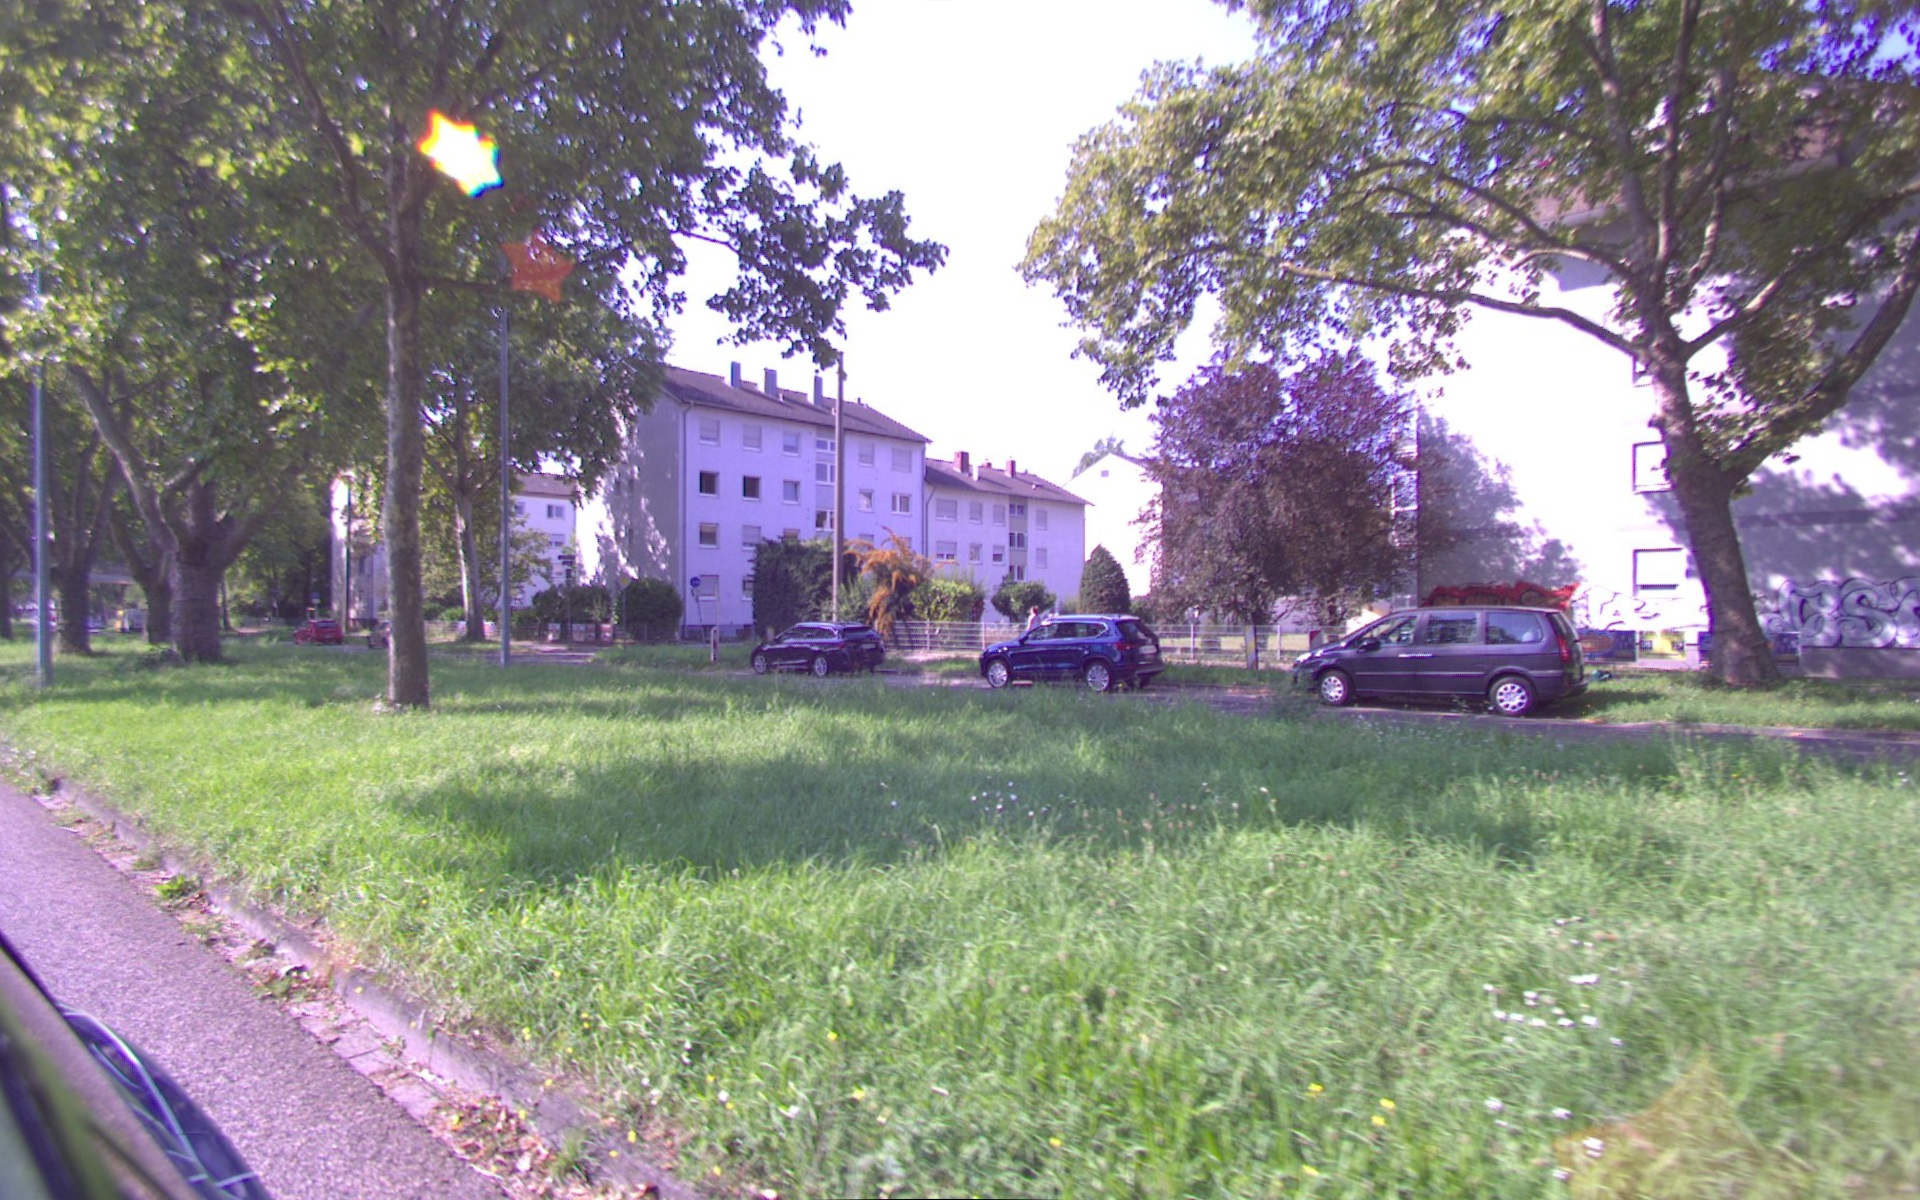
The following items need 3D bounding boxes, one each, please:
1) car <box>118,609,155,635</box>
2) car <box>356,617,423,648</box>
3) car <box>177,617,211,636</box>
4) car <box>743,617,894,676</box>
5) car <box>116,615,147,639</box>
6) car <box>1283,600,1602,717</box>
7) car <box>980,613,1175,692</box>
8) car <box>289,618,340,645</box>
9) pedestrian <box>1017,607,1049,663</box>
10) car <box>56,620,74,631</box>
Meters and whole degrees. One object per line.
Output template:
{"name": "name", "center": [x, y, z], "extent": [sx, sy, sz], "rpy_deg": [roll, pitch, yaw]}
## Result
{"name": "car", "center": [-82.288, 2.162, 101.116], "extent": [6.268, 2.448, 2.183], "rpy_deg": [-1, 1, 45]}
{"name": "car", "center": [-28.304, 1.596, 50.147], "extent": [4.065, 1.441, 1.782], "rpy_deg": [-1, -1, 43]}
{"name": "car", "center": [-62.682, 2.163, 82.772], "extent": [3.863, 1.544, 1.506], "rpy_deg": [0, -1, 43]}
{"name": "car", "center": [-4.010, 1.242, 28.282], "extent": [4.539, 1.519, 1.681], "rpy_deg": [-1, -2, 42]}
{"name": "car", "center": [-87.759, 2.829, 107.160], "extent": [2.181, 2.498, 6.067], "rpy_deg": [0, -1, -43]}
{"name": "car", "center": [8.124, 0.899, 17.352], "extent": [4.658, 1.745, 1.681], "rpy_deg": [-1, -1, 42]}
{"name": "car", "center": [2.477, 1.069, 22.004], "extent": [3.999, 1.580, 1.681], "rpy_deg": [-1, -1, 42]}
{"name": "car", "center": [-36.999, 1.792, 57.968], "extent": [4.065, 1.462, 1.521], "rpy_deg": [-1, -1, 43]}
{"name": "pedestrian", "center": [2.198, 1.046, 30.468], "extent": [0.734, 1.658, 0.640], "rpy_deg": [-1, -1, 40]}
{"name": "car", "center": [-143.113, 4.054, 161.776], "extent": [4.720, 1.733, 1.782], "rpy_deg": [-2, -2, 43]}
